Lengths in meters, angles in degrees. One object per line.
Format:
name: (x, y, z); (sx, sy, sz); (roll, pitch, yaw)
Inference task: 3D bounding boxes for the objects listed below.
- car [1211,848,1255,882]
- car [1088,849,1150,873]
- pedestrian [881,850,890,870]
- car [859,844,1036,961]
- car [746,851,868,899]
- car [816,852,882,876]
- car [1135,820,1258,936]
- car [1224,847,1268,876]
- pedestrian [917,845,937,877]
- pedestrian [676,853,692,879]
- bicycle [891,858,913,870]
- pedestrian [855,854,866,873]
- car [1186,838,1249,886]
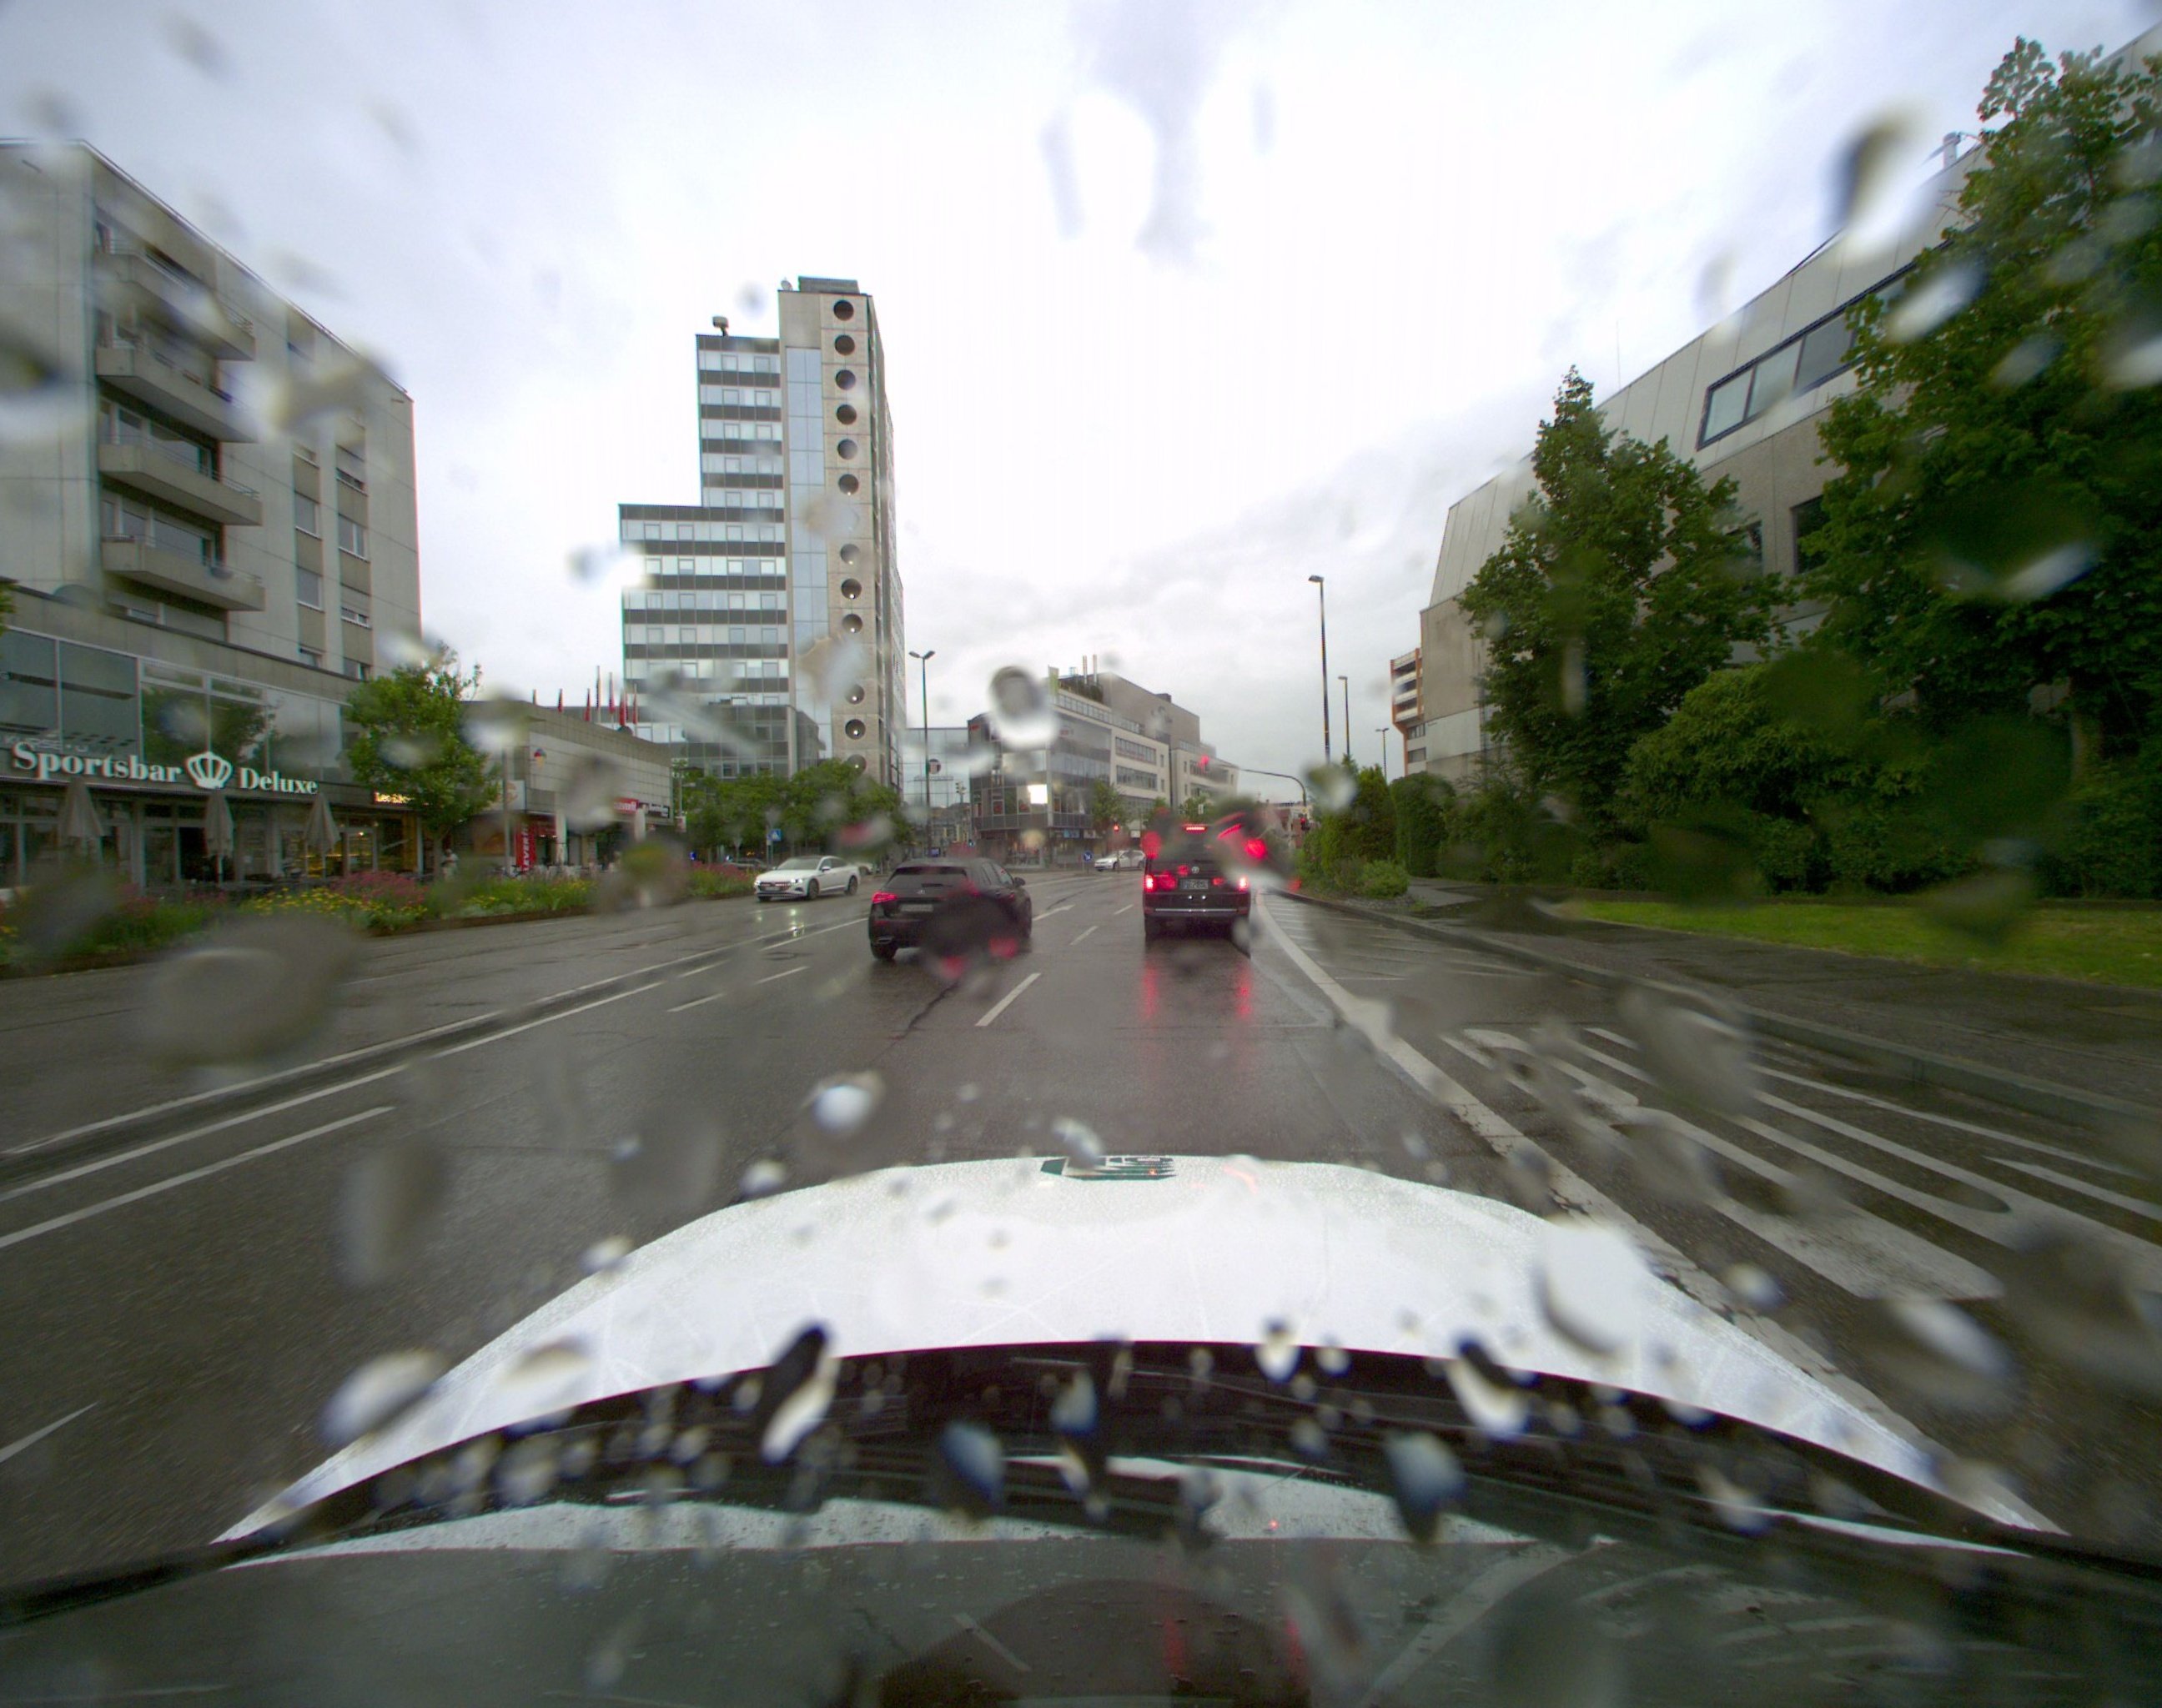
car: (6.836, 0.457, 36.378); (1.622, 1.448, 4.285); (-1, 0, 14)
car: (2.806, 0.495, 59.356); (4.531, 1.682, 1.868); (-1, 0, -44)
pedestrian: (-19.908, 0.564, 83.024); (0.762, 2.013, 0.712); (-1, 0, -9)
car: (-1.916, 0.622, 12.893); (1.806, 1.529, 3.819); (0, 1, 6)
car: (-9.149, 0.653, 27.653); (1.831, 1.460, 4.821); (-1, 0, 9)
car: (-16.525, 0.703, 58.181); (4.178, 1.595, 1.870); (-1, 0, 0)
car: (2.267, 0.412, 15.734); (1.984, 1.894, 4.599); (-1, 0, 9)
car: (8.670, 0.376, 42.566); (1.897, 1.400, 3.473); (-2, -1, 16)
pedestrian: (-10.019, 0.437, 52.883); (1.163, 2.013, 1.322); (-1, 0, -13)
pedestrian: (-20.263, 0.614, 41.588); (0.491, 1.347, 0.540); (-1, 0, 29)
bicycle: (-19.564, 1.104, 89.047); (2.272, 1.246, 0.674); (-2, 0, -9)
pedestrian: (-22.182, 0.981, 81.801); (0.756, 1.868, 0.825); (-2, 0, -34)
car: (5.108, 0.269, 30.023); (1.887, 1.621, 4.352); (-1, 0, 14)
